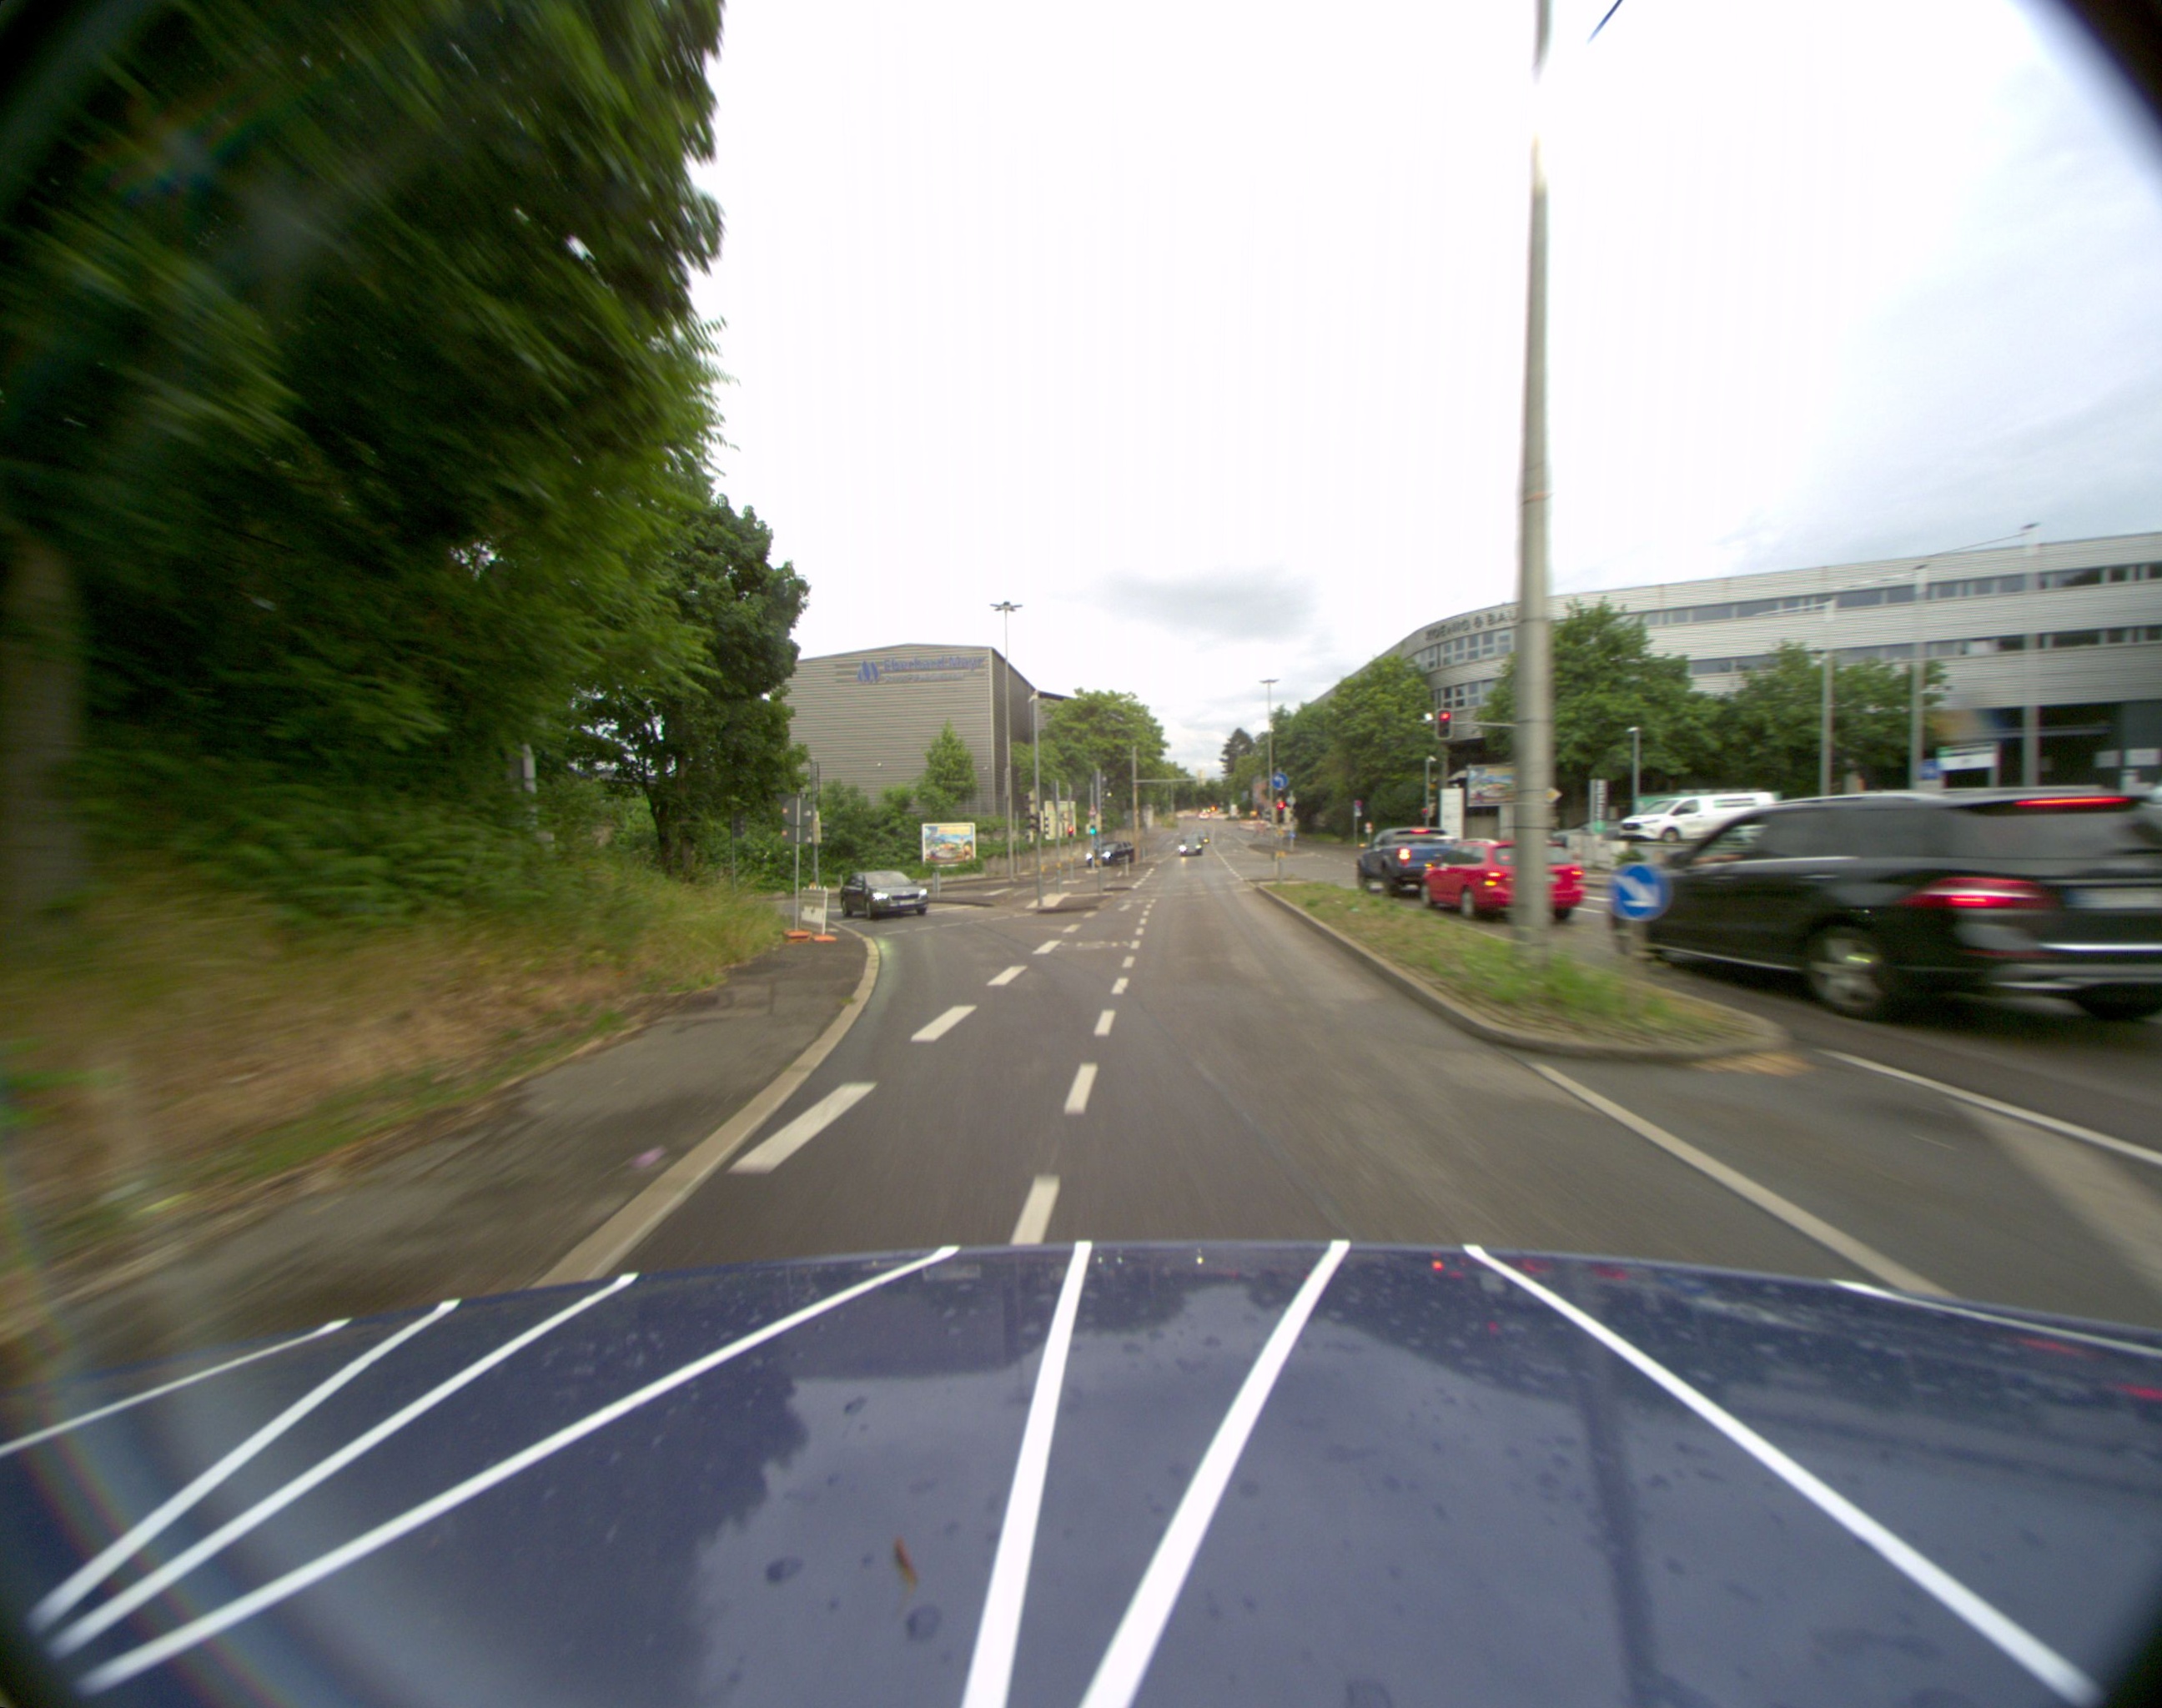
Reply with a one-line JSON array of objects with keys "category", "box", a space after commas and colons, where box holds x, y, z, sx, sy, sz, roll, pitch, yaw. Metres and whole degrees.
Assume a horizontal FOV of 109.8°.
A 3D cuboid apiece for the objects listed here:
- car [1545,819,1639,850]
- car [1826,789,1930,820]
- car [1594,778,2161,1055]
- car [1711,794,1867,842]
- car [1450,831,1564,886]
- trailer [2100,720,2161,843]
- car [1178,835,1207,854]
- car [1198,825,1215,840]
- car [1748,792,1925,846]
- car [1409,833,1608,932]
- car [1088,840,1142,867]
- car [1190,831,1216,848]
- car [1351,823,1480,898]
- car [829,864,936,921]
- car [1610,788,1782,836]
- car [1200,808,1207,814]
[{"category": "car", "box": [31.335, -1.200, 46.715, 4.373, 1.591, 2.037, -4, 1, 19]}, {"category": "car", "box": [37.154, -2.291, 35.532, 1.573, 1.314, 3.297, -1, 2, 6]}, {"category": "car", "box": [6.955, 0.351, 6.914, 1.958, 1.687, 4.627, -1, 1, 8]}, {"category": "car", "box": [25.012, -1.249, 26.976, 3.618, 1.361, 1.873, -4, 2, 7]}, {"category": "car", "box": [12.722, 0.066, 22.971, 1.545, 1.451, 4.071, -1, 2, 7]}, {"category": "trailer", "box": [24.849, -1.499, 14.400, 7.111, 2.415, 2.395, -1, 3, 6]}, {"category": "car", "box": [9.113, -0.777, 62.015, 1.594, 1.253, 3.759, -4, 2, 19]}, {"category": "car", "box": [13.870, -2.446, 84.175, 1.735, 1.569, 3.710, -1, 3, 8]}, {"category": "car", "box": [23.728, -1.096, 23.976, 3.618, 1.361, 1.742, -4, 2, 7]}, {"category": "car", "box": [8.024, 0.424, 14.803, 1.810, 1.522, 4.442, -1, 2, 7]}, {"category": "car", "box": [2.523, -0.071, 55.389, 1.948, 1.535, 4.217, -3, 2, 32]}, {"category": "car", "box": [11.704, -1.373, 72.928, 1.750, 1.362, 3.759, -4, 2, 19]}, {"category": "car", "box": [9.086, 0.121, 21.174, 1.937, 1.808, 5.172, -1, 1, 8]}, {"category": "car", "box": [-6.346, 1.209, 23.988, 1.815, 1.509, 4.043, -4, 0, -37]}, {"category": "car", "box": [25.404, -1.738, 31.551, 5.368, 1.792, 2.219, -2, 3, 0]}, {"category": "car", "box": [27.444, -9.655, 170.093, 1.532, 1.307, 3.232, -1, 3, 11]}]
